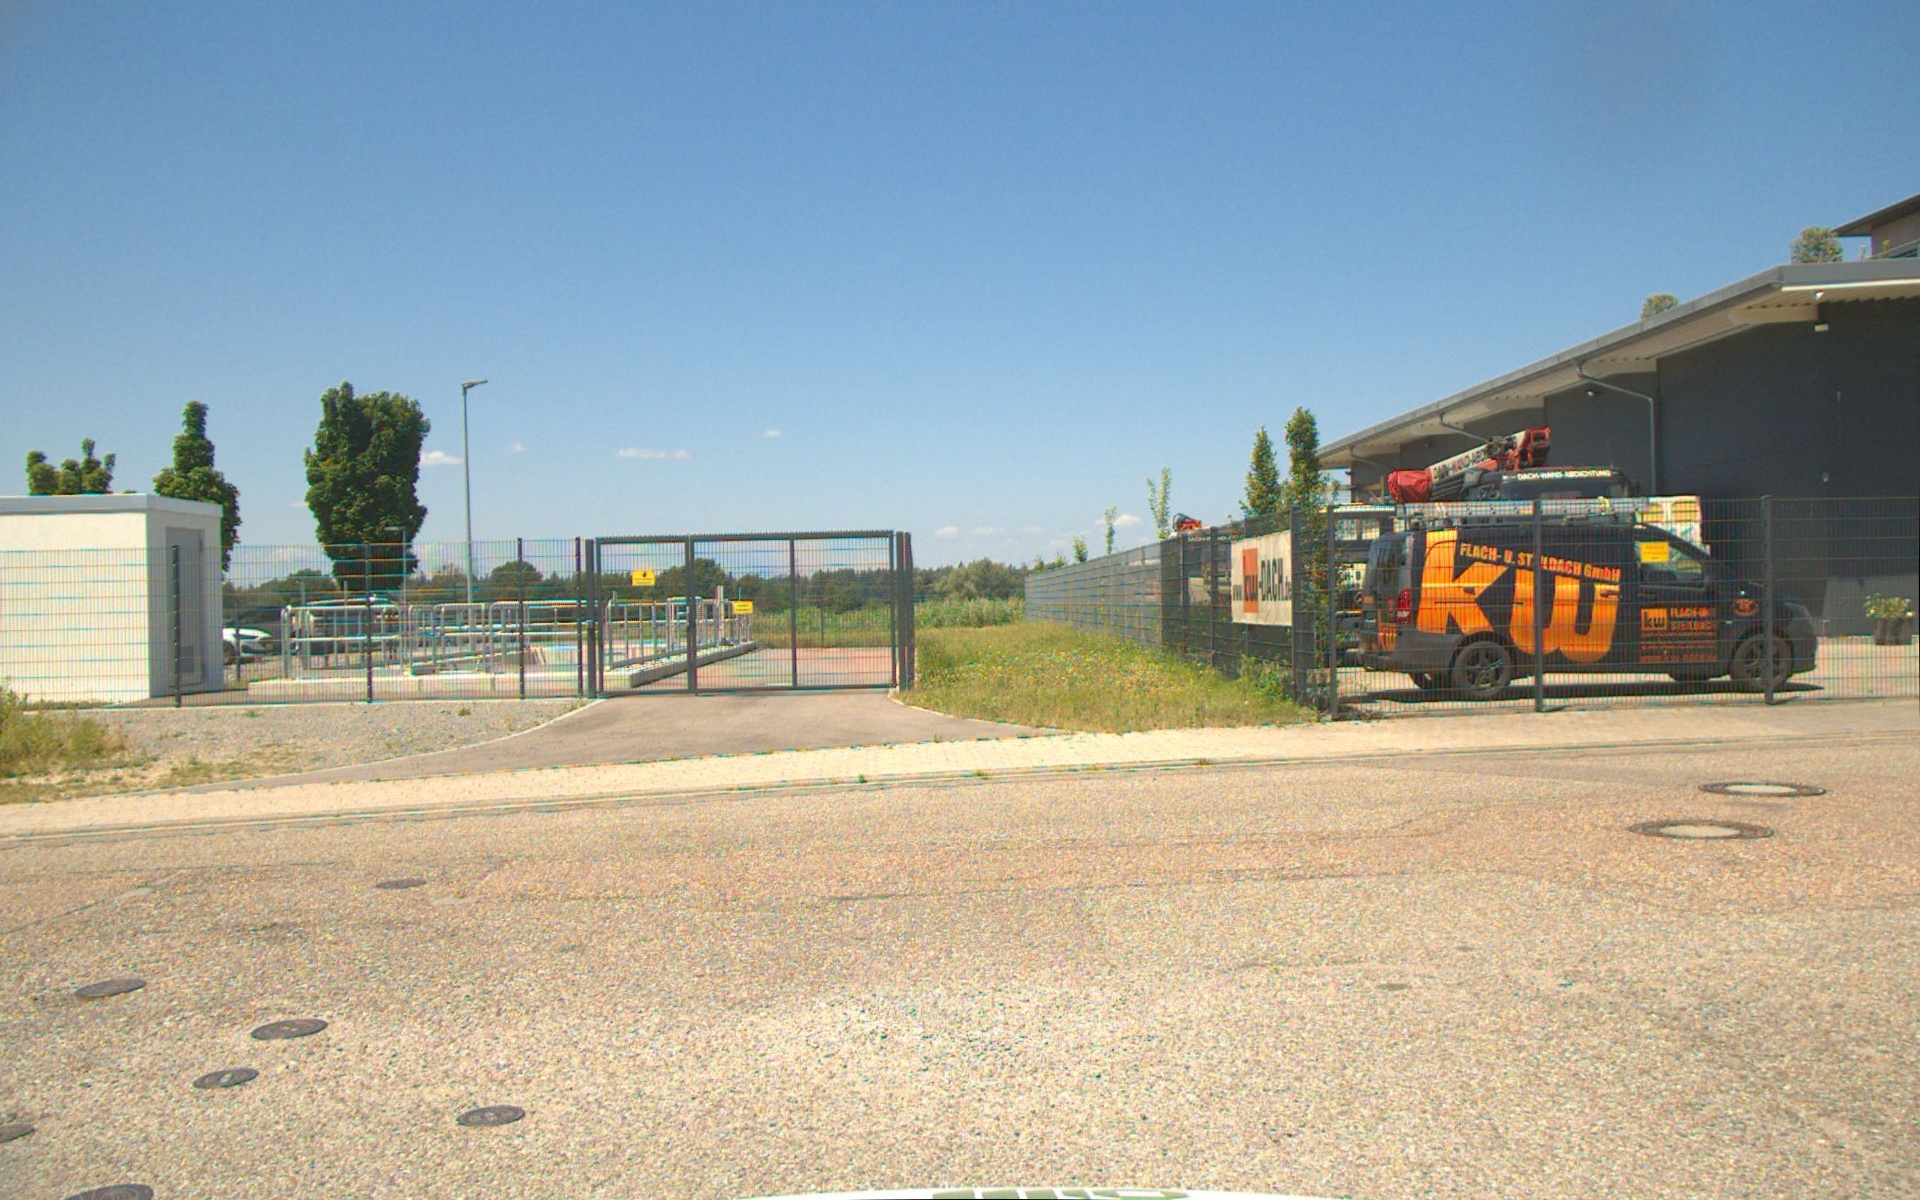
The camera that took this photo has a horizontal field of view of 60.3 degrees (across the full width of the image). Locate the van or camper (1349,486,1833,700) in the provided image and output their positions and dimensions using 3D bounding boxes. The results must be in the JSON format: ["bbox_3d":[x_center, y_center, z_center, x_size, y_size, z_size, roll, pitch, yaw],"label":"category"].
[{"bbox_3d":[7.187,-0.098,19.197,4.836,2.201,2.000,-2,1,-1],"label":"van or camper"}]

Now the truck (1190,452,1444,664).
[{"bbox_3d":[5.863,-0.638,28.392,2.671,3.115,6.934,-2,0,-1],"label":"truck"}]

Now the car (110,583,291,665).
[{"bbox_3d":[-20.443,0.626,44.639,3.905,2.049,2.000,-2,0,0],"label":"car"}]

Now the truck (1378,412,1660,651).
[{"bbox_3d":[10.426,-1.184,31.713,2.862,3.998,6.934,-2,0,-1],"label":"truck"}]

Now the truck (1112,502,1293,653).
[{"bbox_3d":[5.269,-0.460,37.210,2.862,2.989,6.934,-2,0,-1],"label":"truck"}]

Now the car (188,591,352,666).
[{"bbox_3d":[-20.216,0.807,48.554,3.905,2.049,2.000,-2,0,0],"label":"car"}]

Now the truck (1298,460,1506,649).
[{"bbox_3d":[10.260,-0.985,39.190,2.862,3.998,6.934,-2,0,-1],"label":"truck"}]
